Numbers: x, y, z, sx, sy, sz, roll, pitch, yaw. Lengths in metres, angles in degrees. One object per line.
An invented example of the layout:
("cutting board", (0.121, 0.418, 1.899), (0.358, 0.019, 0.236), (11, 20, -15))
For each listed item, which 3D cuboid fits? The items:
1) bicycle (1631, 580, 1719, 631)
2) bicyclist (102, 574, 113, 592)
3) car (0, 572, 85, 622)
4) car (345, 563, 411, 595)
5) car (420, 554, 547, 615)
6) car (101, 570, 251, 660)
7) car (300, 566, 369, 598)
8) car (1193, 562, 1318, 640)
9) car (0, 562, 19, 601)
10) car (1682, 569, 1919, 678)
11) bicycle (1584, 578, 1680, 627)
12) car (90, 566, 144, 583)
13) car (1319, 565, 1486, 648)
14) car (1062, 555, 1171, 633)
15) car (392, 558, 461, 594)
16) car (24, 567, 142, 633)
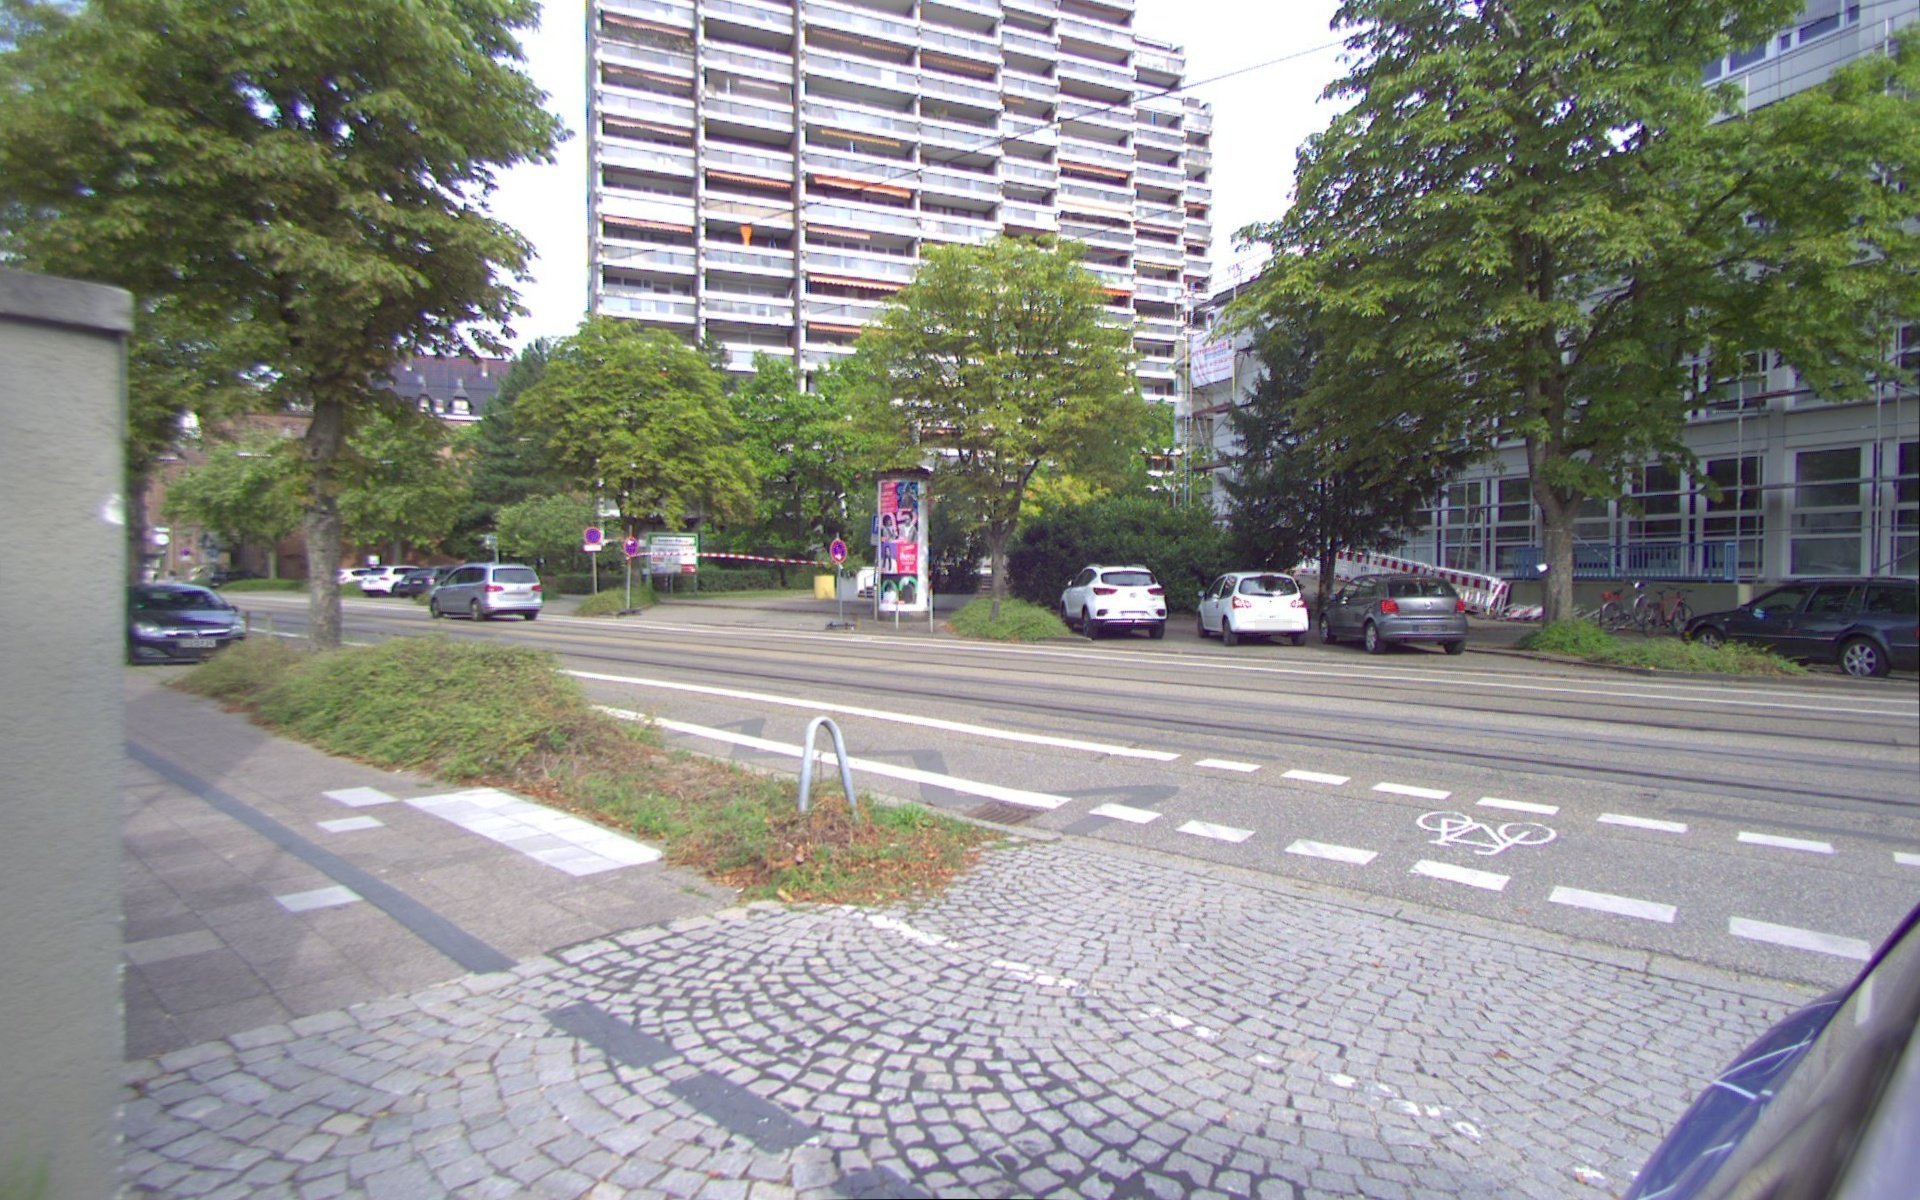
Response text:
("bicycle", (15.568, 0.100, 22.017), (1.936, 1.056, 0.596), (-1, 2, -22))
("bicyclist", (-73.607, -1.474, 87.363), (0.871, 1.477, 0.586), (1, 2, 39))
("car", (-28.398, -0.133, 31.127), (3.943, 1.420, 1.573), (1, 2, 39))
("car", (-30.732, -1.126, 53.544), (1.649, 1.622, 3.651), (-1, 2, -5))
("car", (-14.680, -0.513, 31.100), (4.596, 1.722, 1.792), (2, 2, 40))
("car", (-13.873, 0.181, 17.826), (3.951, 1.420, 1.570), (1, 2, 44))
("car", (-33.233, -0.998, 53.888), (1.649, 1.622, 3.651), (-1, 2, -5))
("car", (6.162, -0.031, 21.491), (1.651, 1.493, 3.646), (-1, 2, 1))
("car", (-36.365, -0.683, 37.576), (3.943, 1.420, 1.573), (1, 2, 39))
("car", (13.375, 0.258, 15.126), (1.779, 1.433, 4.177), (-1, 2, -9))
("bicycle", (15.146, 0.039, 22.820), (1.936, 1.056, 0.596), (0, 1, -12))
("car", (-87.121, -2.676, 104.600), (1.987, 1.714, 3.950), (1, 2, 35))
("car", (8.334, 0.058, 19.393), (1.651, 1.437, 3.646), (-1, 2, 1))
("car", (3.504, -0.181, 23.299), (1.649, 1.622, 3.651), (-1, 2, -5))
("car", (-25.771, -1.178, 49.052), (1.649, 1.622, 3.651), (-1, 2, -5))
("car", (-21.685, -0.050, 24.988), (3.945, 1.515, 1.617), (1, 2, 40))
